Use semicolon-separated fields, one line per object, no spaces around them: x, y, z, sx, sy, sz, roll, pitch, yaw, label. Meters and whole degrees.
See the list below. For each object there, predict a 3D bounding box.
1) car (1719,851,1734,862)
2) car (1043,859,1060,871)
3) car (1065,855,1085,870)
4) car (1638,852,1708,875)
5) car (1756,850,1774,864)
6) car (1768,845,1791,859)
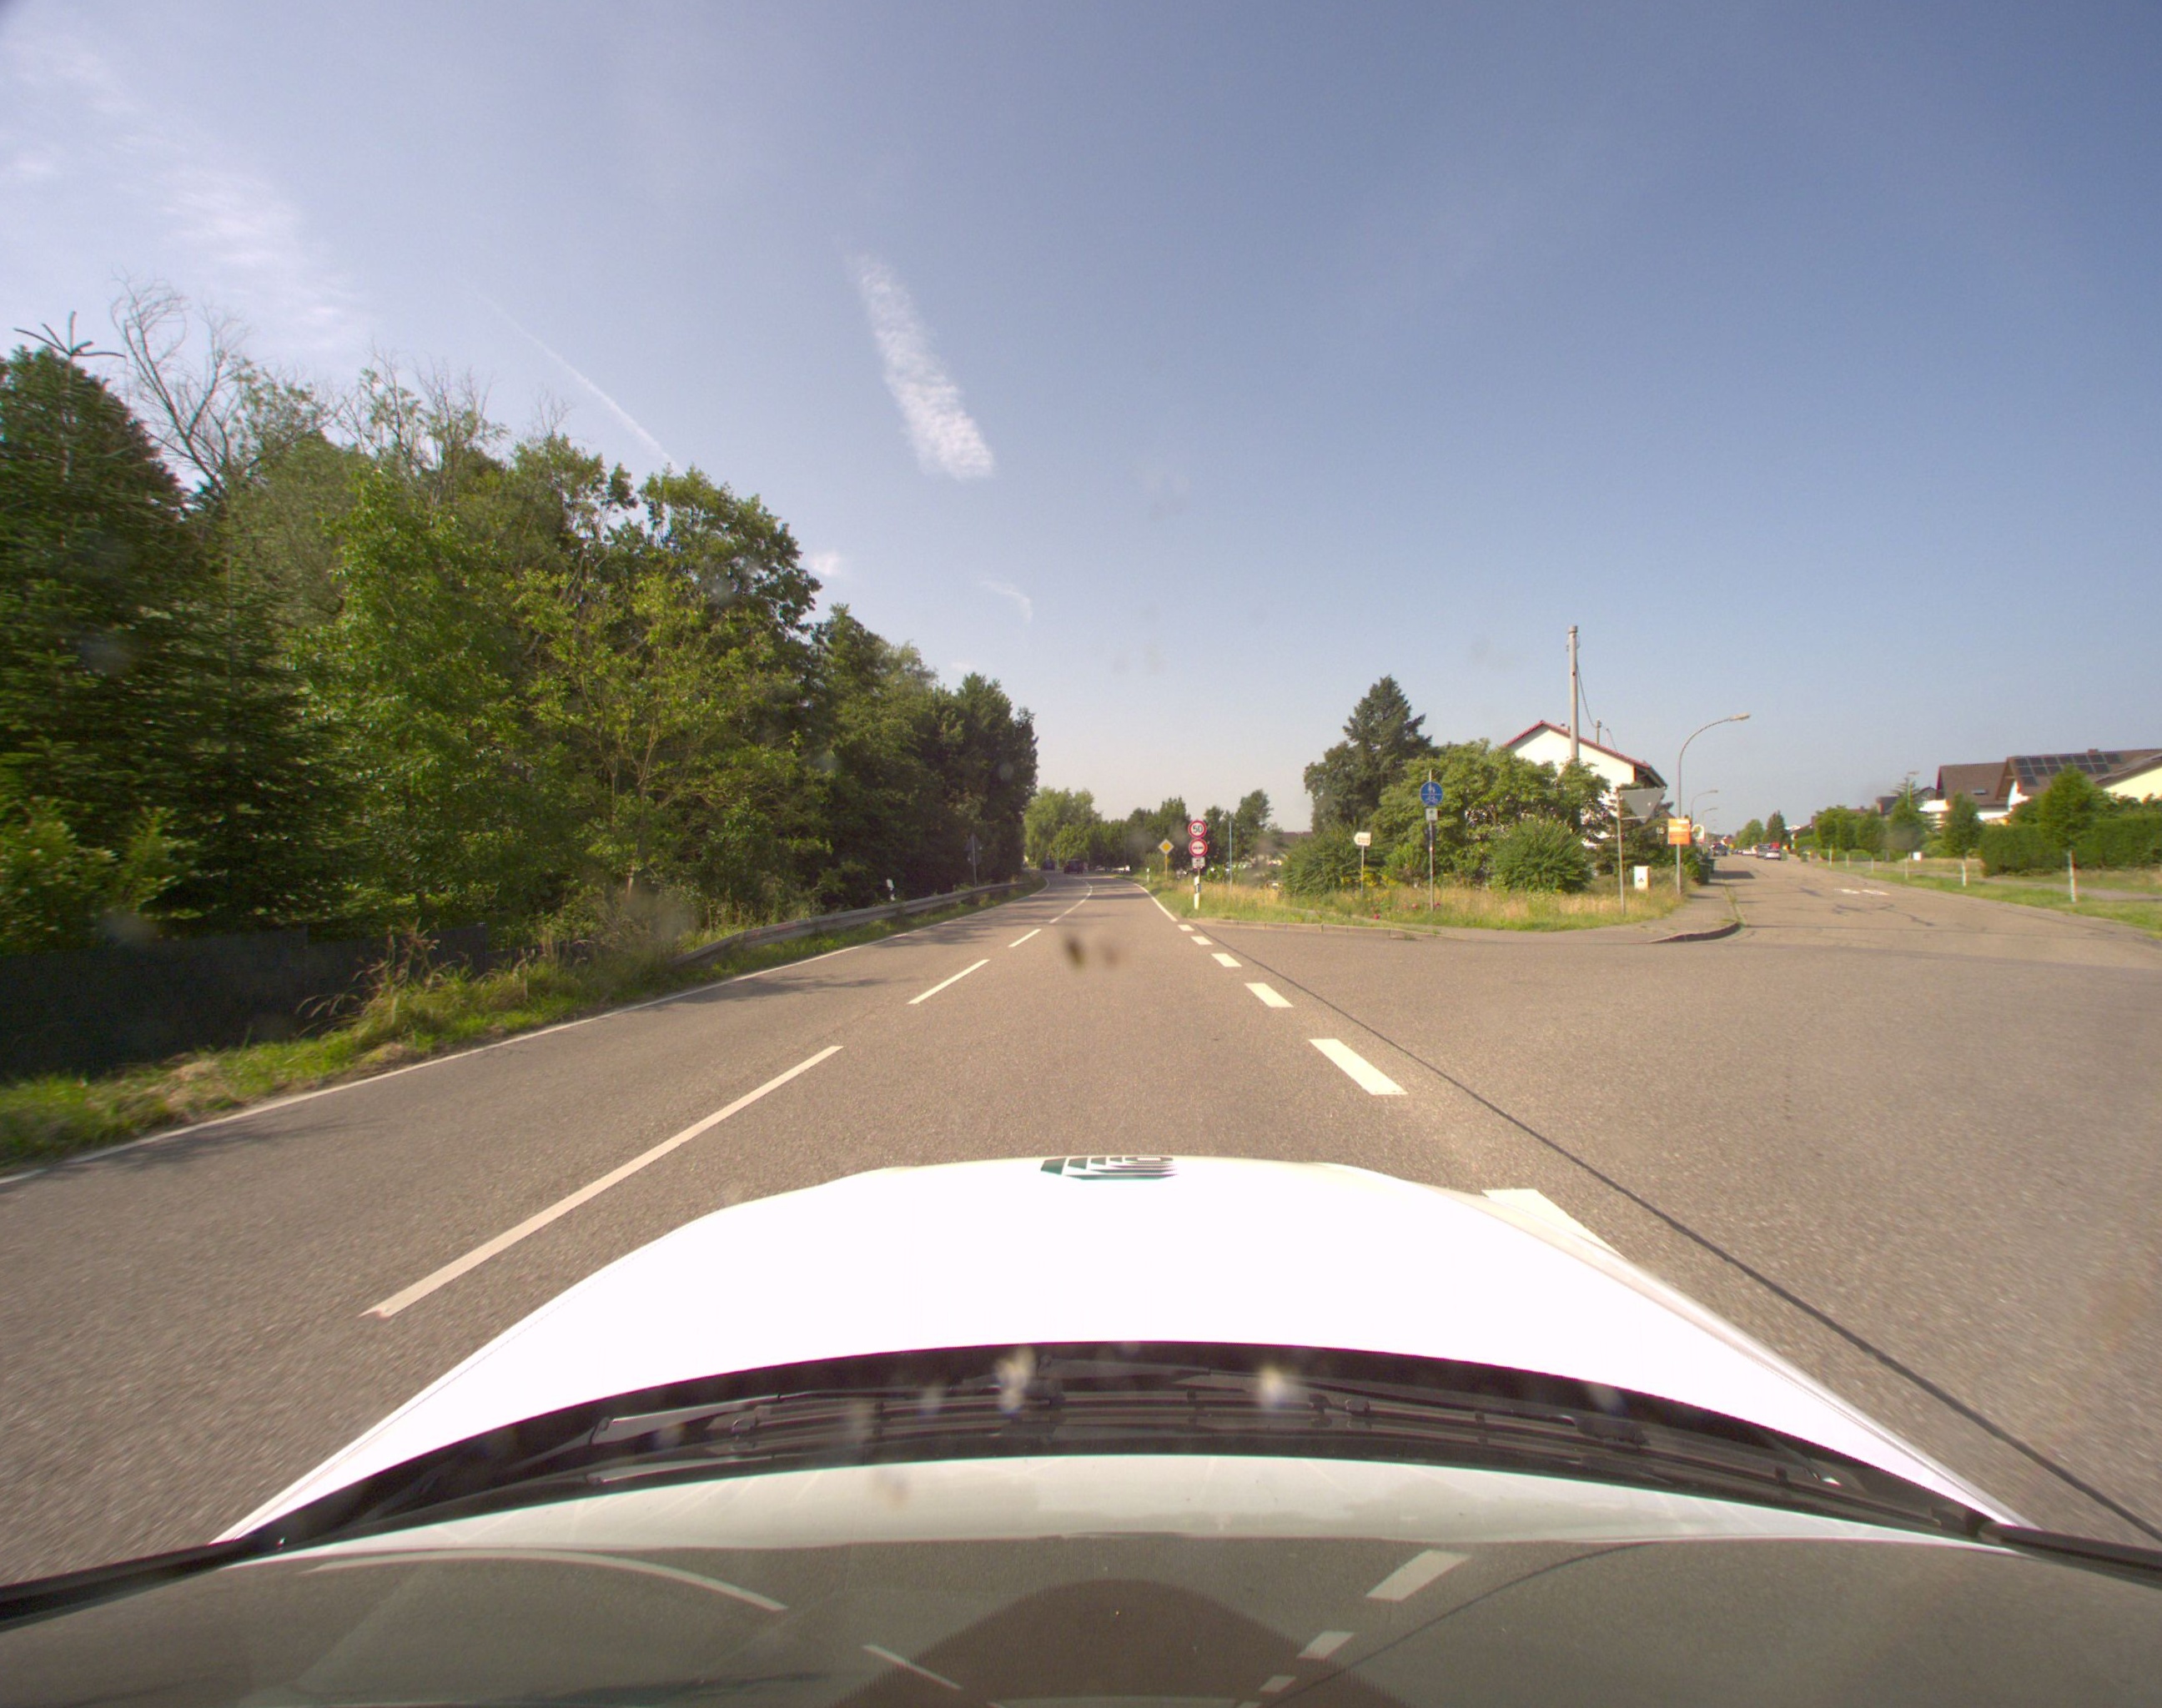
125.261;0.425;158.143;1.974;2.013;4.025;1;0;35;car
-4.503;1.656;123.950;2.005;1.771;3.984;0;0;-11;car
-0.793;1.071;99.195;1.924;1.771;3.989;0;0;-8;car
48.051;0.754;66.182;4.405;1.698;1.781;1;0;44;car
104.528;0.455;124.490;1.763;2.013;4.025;1;0;35;car
93.148;-0.196;108.586;1.873;1.772;4.025;1;0;35;car
